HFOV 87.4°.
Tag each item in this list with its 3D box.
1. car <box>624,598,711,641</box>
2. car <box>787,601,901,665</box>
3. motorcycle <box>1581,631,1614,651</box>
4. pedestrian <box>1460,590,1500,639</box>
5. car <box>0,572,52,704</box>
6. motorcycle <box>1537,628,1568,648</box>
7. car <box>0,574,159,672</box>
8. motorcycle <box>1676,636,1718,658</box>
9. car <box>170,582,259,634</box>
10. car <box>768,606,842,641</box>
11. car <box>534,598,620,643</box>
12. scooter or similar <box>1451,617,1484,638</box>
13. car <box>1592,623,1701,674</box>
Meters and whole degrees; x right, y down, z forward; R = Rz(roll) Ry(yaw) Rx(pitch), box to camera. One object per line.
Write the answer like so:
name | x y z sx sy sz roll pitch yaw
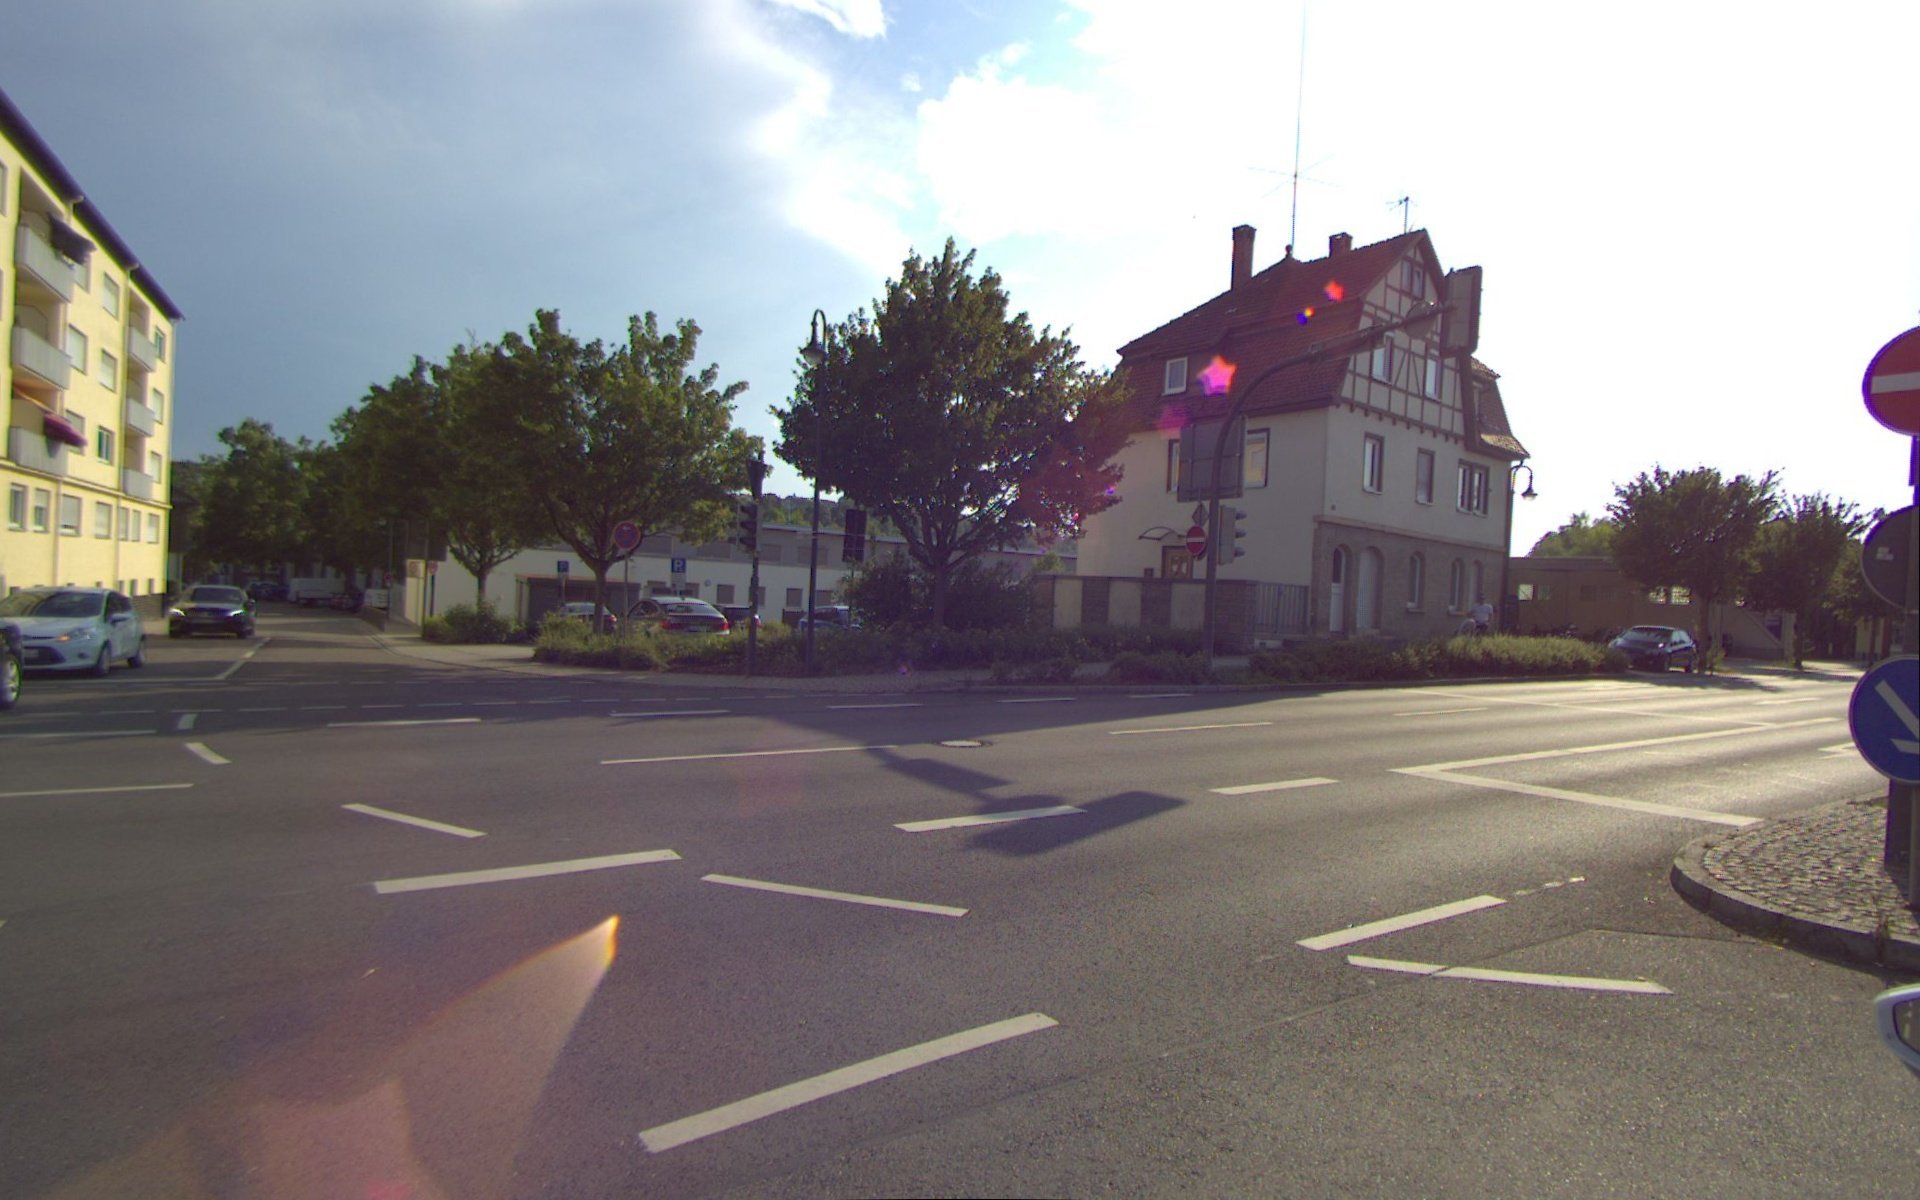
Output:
car | -10.432 0.669 35.740 1.733 1.418 3.617 2 -1 -38
car | -3.315 0.902 28.437 1.733 1.661 3.260 2 -1 -38
motorcycle | 36.875 2.369 58.067 1.606 1.083 0.517 2 0 -5
pedestrian | 15.286 0.429 29.533 0.700 1.413 0.806 2 0 -38
car | -11.065 0.389 10.022 1.894 1.455 4.836 2 -1 -29
motorcycle | 35.409 2.254 60.018 1.606 1.121 0.517 2 0 -5
car | -14.964 0.353 16.743 1.845 1.455 3.796 2 -1 -29
motorcycle | 39.601 2.511 53.984 1.833 1.083 0.517 2 0 -1
car | -22.926 0.250 31.014 1.727 1.455 3.564 2 -1 -29
car | -6.996 1.045 45.167 1.731 1.418 3.892 2 -1 -35
car | -13.199 0.693 34.505 1.733 1.418 3.617 2 -1 -38
scooter or similar | 14.623 0.795 28.942 1.034 0.590 0.440 2 0 -38
car | 23.310 1.629 34.061 4.094 1.473 1.743 2 4 -37
